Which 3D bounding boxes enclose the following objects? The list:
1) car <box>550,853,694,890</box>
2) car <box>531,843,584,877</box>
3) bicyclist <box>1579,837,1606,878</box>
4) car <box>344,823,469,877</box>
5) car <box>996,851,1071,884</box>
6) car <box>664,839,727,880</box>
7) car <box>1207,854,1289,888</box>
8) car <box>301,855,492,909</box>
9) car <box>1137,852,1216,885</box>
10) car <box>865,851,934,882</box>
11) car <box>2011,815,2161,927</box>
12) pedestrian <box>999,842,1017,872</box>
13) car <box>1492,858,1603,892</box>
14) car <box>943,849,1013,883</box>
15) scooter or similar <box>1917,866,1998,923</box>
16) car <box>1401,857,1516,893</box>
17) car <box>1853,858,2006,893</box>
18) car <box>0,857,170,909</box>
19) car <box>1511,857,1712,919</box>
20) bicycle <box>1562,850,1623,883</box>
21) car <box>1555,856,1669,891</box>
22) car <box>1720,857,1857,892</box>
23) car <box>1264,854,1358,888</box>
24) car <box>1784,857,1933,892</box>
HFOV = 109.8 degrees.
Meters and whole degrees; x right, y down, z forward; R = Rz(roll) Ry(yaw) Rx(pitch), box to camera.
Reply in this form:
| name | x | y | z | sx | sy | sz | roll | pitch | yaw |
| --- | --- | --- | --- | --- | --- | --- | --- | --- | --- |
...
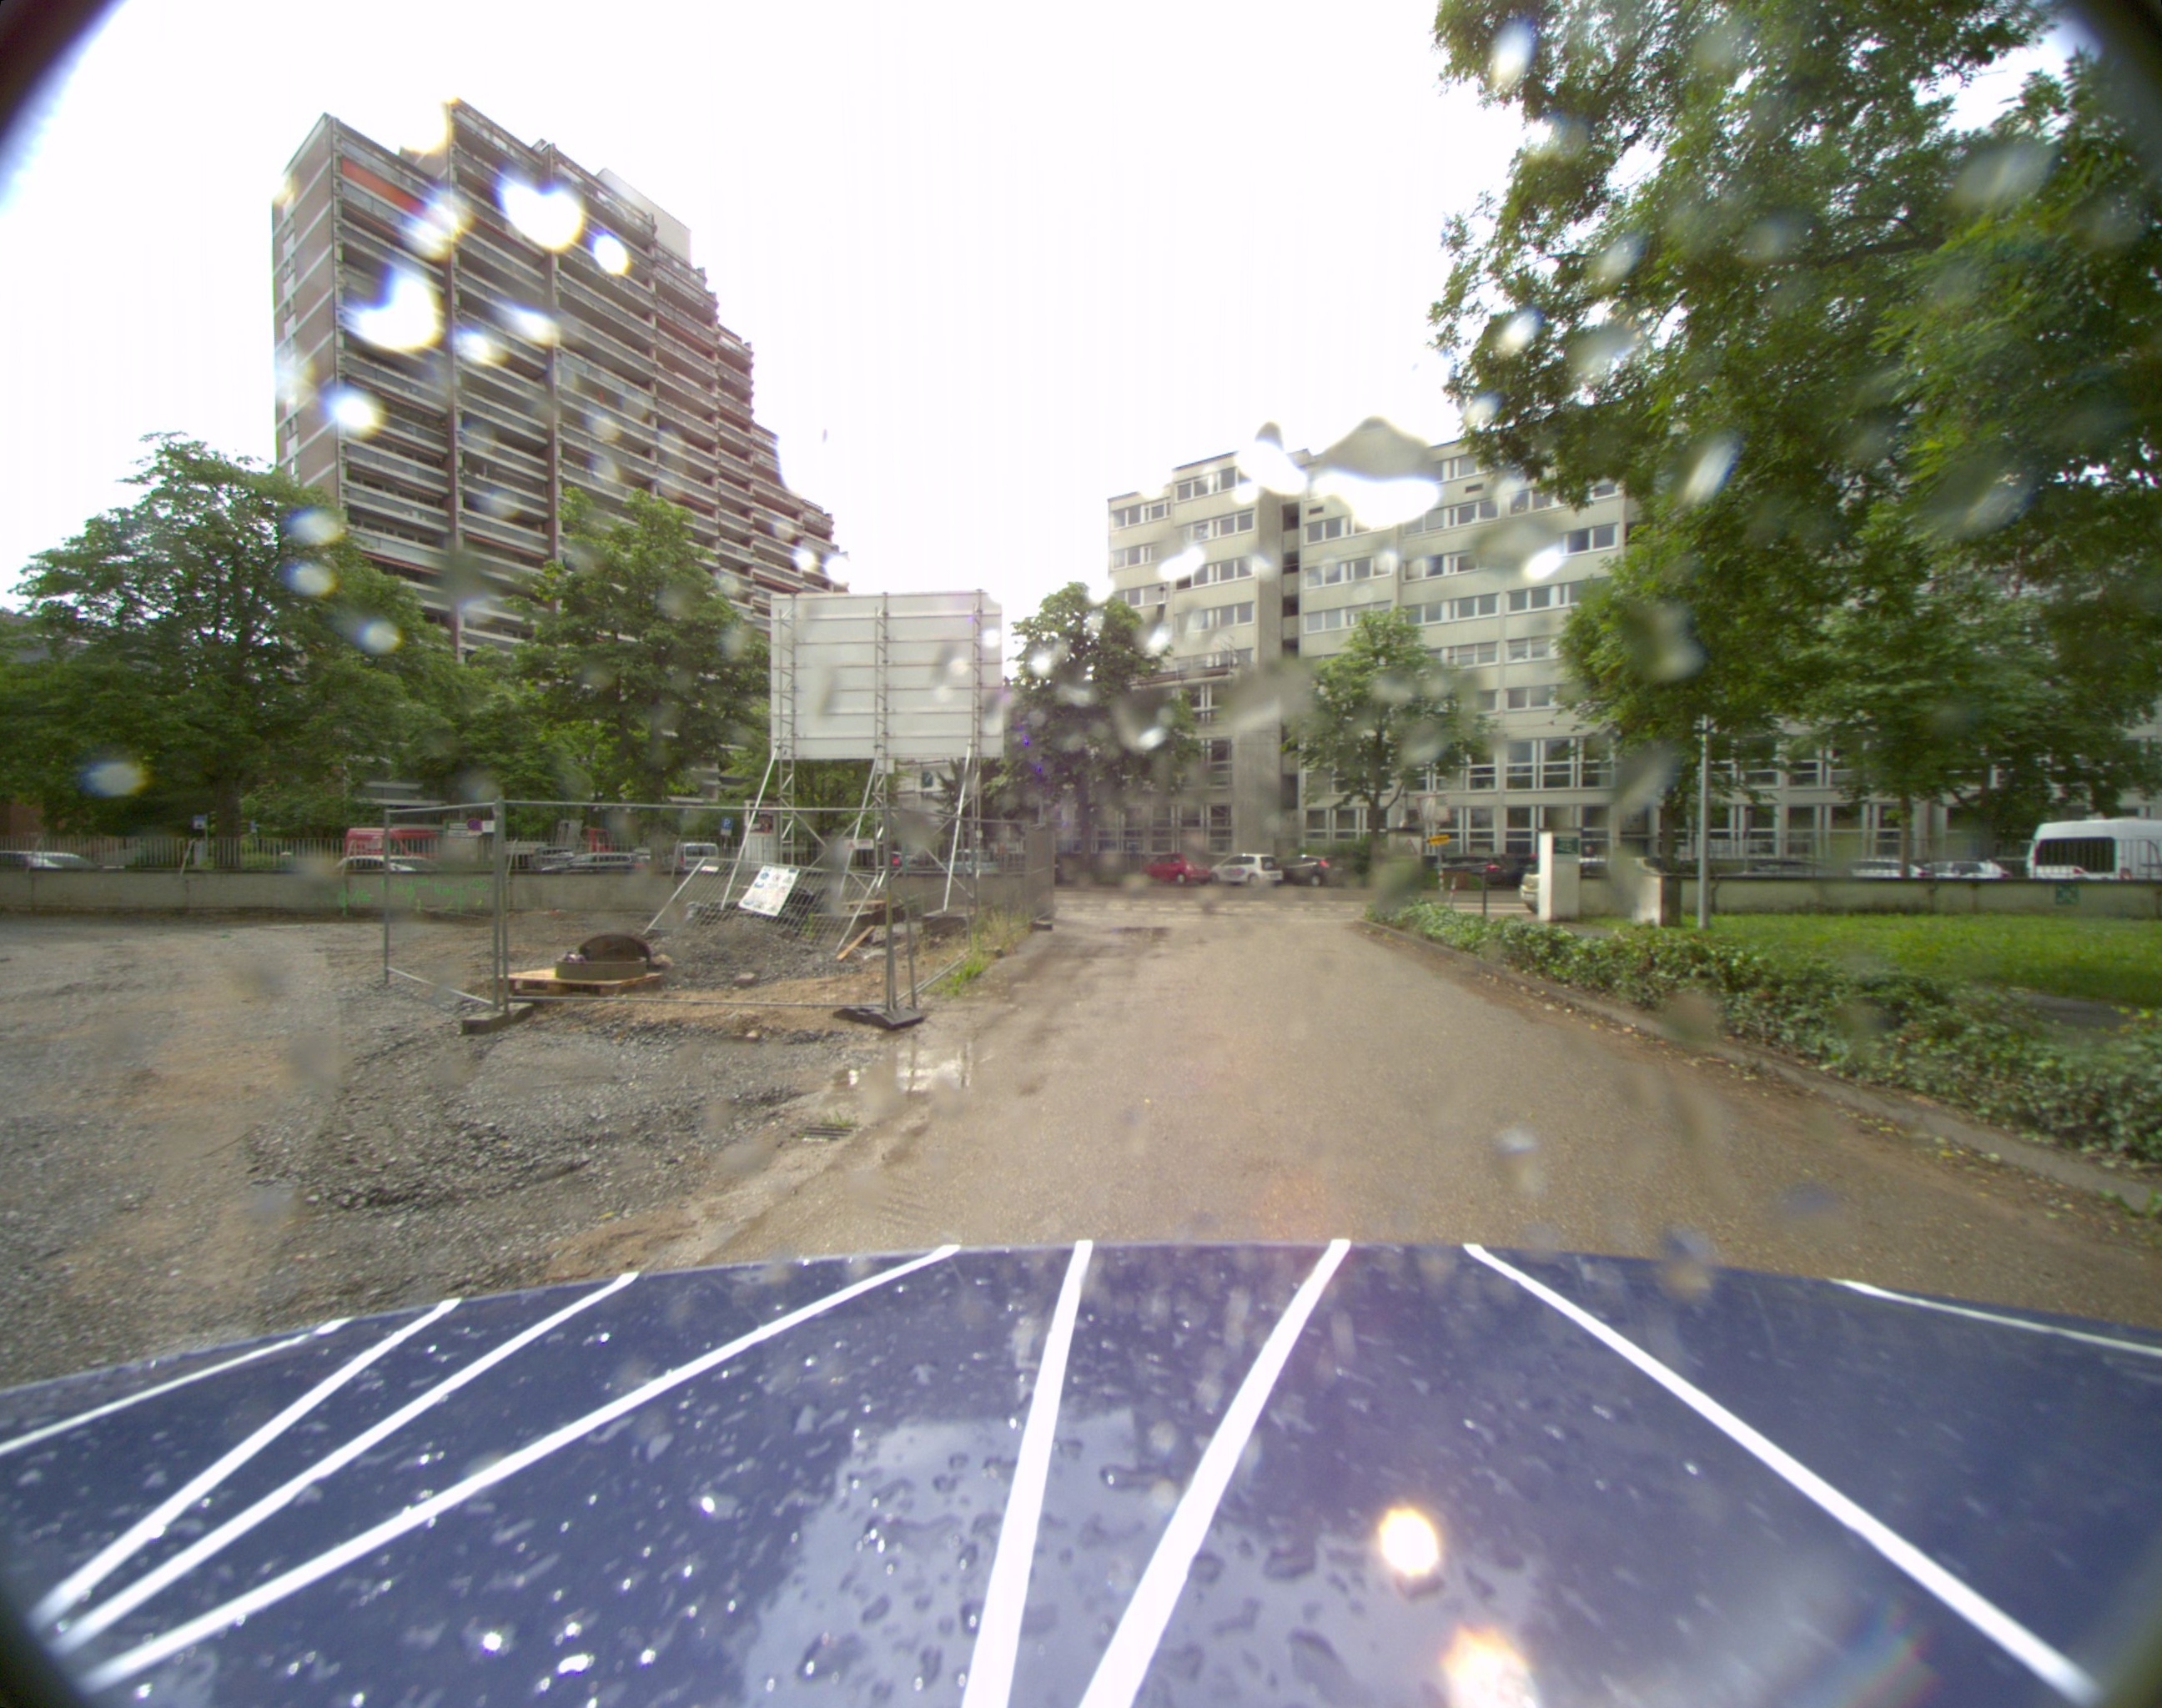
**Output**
| name | x | y | z | sx | sy | sz | roll | pitch | yaw |
| --- | --- | --- | --- | --- | --- | --- | --- | --- | --- |
| car | -18.782 | 0.703 | 31.204 | 4.758 | 1.472 | 2.001 | 0 | -1 | 3 |
| car | -26.686 | 0.278 | 38.684 | 1.789 | 1.556 | 4.034 | 0 | 2 | -40 |
| bicyclist | 19.997 | 0.145 | 29.727 | 0.673 | 1.607 | 0.646 | -1 | -1 | 11 |
| car | -33.987 | -0.204 | 38.314 | 5.470 | 2.618 | 2.306 | 1 | 0 | 19 |
| car | -2.271 | 0.577 | 35.838 | 1.745 | 1.461 | 3.639 | 0 | 1 | -39 |
| car | -19.130 | 0.246 | 37.588 | 1.942 | 1.886 | 4.632 | 0 | 0 | -38 |
| car | 7.675 | 0.735 | 35.117 | 1.714 | 1.444 | 3.398 | 0 | 1 | -36 |
| car | -19.660 | 0.807 | 21.935 | 3.995 | 1.462 | 1.891 | -1 | -1 | 6 |
| car | 4.479 | 0.643 | 35.880 | 1.745 | 1.461 | 3.398 | 1 | 0 | -39 |
| car | -8.873 | 0.569 | 36.991 | 1.773 | 1.389 | 3.639 | 0 | 1 | -41 |
| car | 26.004 | 0.419 | 17.892 | 5.267 | 2.495 | 2.141 | 0 | -1 | 5 |
| pedestrian | -4.343 | 0.196 | 45.286 | 0.708 | 1.732 | 0.837 | 0 | -1 | -36 |
| car | 20.812 | 0.943 | 34.006 | 1.826 | 1.445 | 3.871 | 1 | -2 | -40 |
| car | -4.926 | 0.522 | 36.039 | 1.712 | 1.542 | 3.639 | 0 | 1 | -38 |
| scooter or similar | 21.038 | 0.957 | 18.261 | 0.427 | 1.269 | 1.146 | 2 | 1 | -20 |
| car | 17.300 | 0.967 | 34.952 | 1.882 | 1.545 | 4.359 | 2 | -2 | -41 |
| car | 37.062 | 0.918 | 33.292 | 1.910 | 1.444 | 4.360 | 0 | -1 | -39 |
| car | -30.461 | 0.854 | 22.779 | 3.997 | 1.462 | 1.890 | -1 | -1 | 0 |
| car | 13.275 | 0.838 | 19.193 | 3.828 | 1.451 | 1.691 | 0 | -1 | 5 |
| bicycle | 19.998 | 0.494 | 29.722 | 1.865 | 1.258 | 0.646 | -1 | -1 | 11 |
| car | 23.898 | 0.880 | 34.290 | 1.781 | 1.445 | 3.871 | 1 | -2 | -40 |
| car | 30.983 | 0.904 | 33.378 | 1.817 | 1.444 | 4.195 | 0 | -1 | -39 |
| car | 10.615 | 0.756 | 35.336 | 1.820 | 1.472 | 3.968 | 0 | 0 | -33 |
| car | 33.924 | 0.886 | 33.271 | 1.889 | 1.444 | 4.383 | 0 | -1 | -39 |
